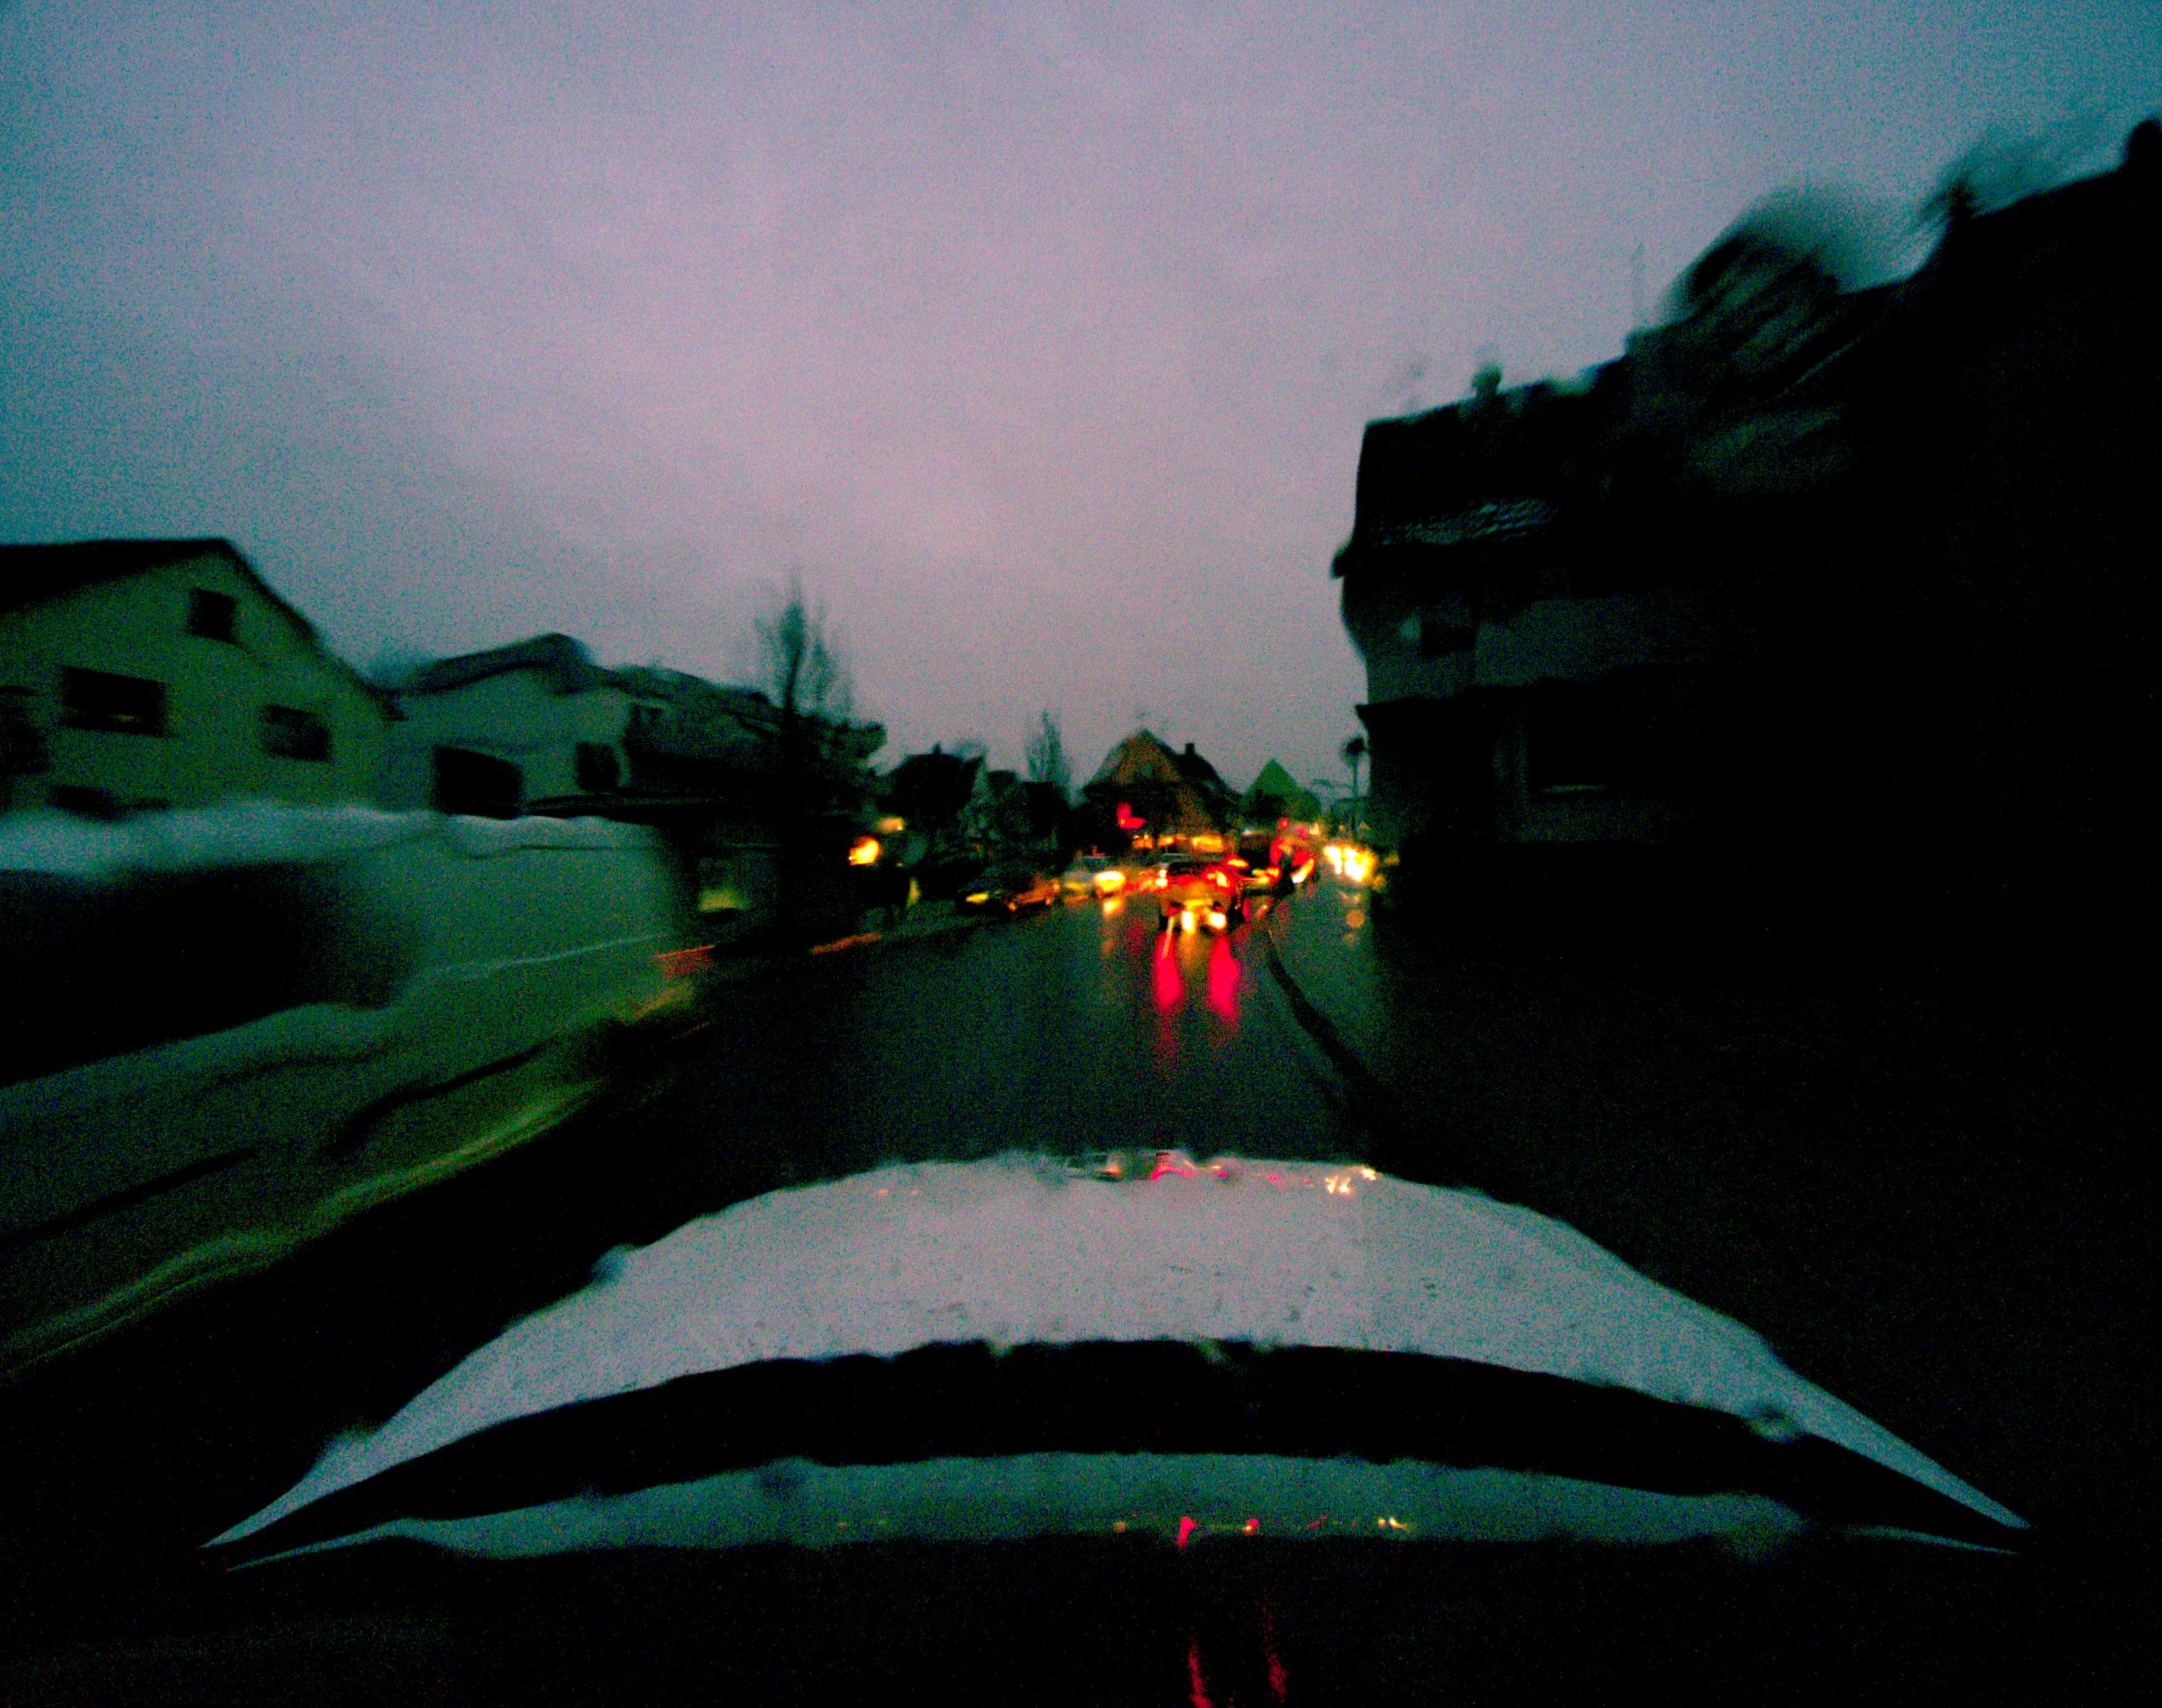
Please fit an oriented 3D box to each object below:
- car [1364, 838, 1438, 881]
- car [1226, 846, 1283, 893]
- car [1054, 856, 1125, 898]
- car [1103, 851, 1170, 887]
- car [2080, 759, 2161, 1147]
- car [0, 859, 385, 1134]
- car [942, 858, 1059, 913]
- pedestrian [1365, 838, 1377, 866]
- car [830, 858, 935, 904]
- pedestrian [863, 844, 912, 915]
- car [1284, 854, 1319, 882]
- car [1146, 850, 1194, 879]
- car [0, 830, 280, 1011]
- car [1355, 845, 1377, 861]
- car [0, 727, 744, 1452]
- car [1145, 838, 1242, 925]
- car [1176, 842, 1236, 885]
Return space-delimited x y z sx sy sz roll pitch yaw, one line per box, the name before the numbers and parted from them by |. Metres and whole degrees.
car | 12.468 0.173 31.581 1.865 1.466 4.571 -4 -1 31
car | 6.709 0.576 31.221 1.784 1.662 4.017 -1 0 16
car | 0.399 0.873 32.027 1.678 1.516 3.791 0 0 19
car | 2.625 0.631 37.387 1.733 1.516 4.366 0 0 23
car | 5.377 0.353 1.778 1.732 1.561 3.654 -3 0 -7
car | -7.018 0.817 5.351 1.829 1.535 3.671 -1 0 -3
car | -2.299 0.874 24.612 1.732 1.472 4.481 -1 0 20
pedestrian | 19.603 -0.135 55.055 0.657 1.888 0.829 -1 -1 28
car | -7.172 0.978 29.245 4.037 1.477 1.750 -3 -1 44
pedestrian | -5.178 0.673 21.825 0.747 1.866 1.066 -2 -1 22
car | 12.171 0.749 44.858 1.636 1.442 3.884 -2 -1 18
car | 4.967 0.552 45.078 1.655 1.516 4.021 0 0 22
car | -12.823 0.787 10.947 5.327 1.885 2.087 -3 0 37
car | 26.610 -0.087 75.963 1.520 1.245 3.668 -7 -1 24
car | -3.508 0.622 3.163 1.937 1.750 4.857 -4 0 5
car | 2.833 0.575 19.644 1.981 1.795 4.663 -2 0 11
car | 5.996 0.419 38.647 2.124 1.860 4.763 -1 0 17
